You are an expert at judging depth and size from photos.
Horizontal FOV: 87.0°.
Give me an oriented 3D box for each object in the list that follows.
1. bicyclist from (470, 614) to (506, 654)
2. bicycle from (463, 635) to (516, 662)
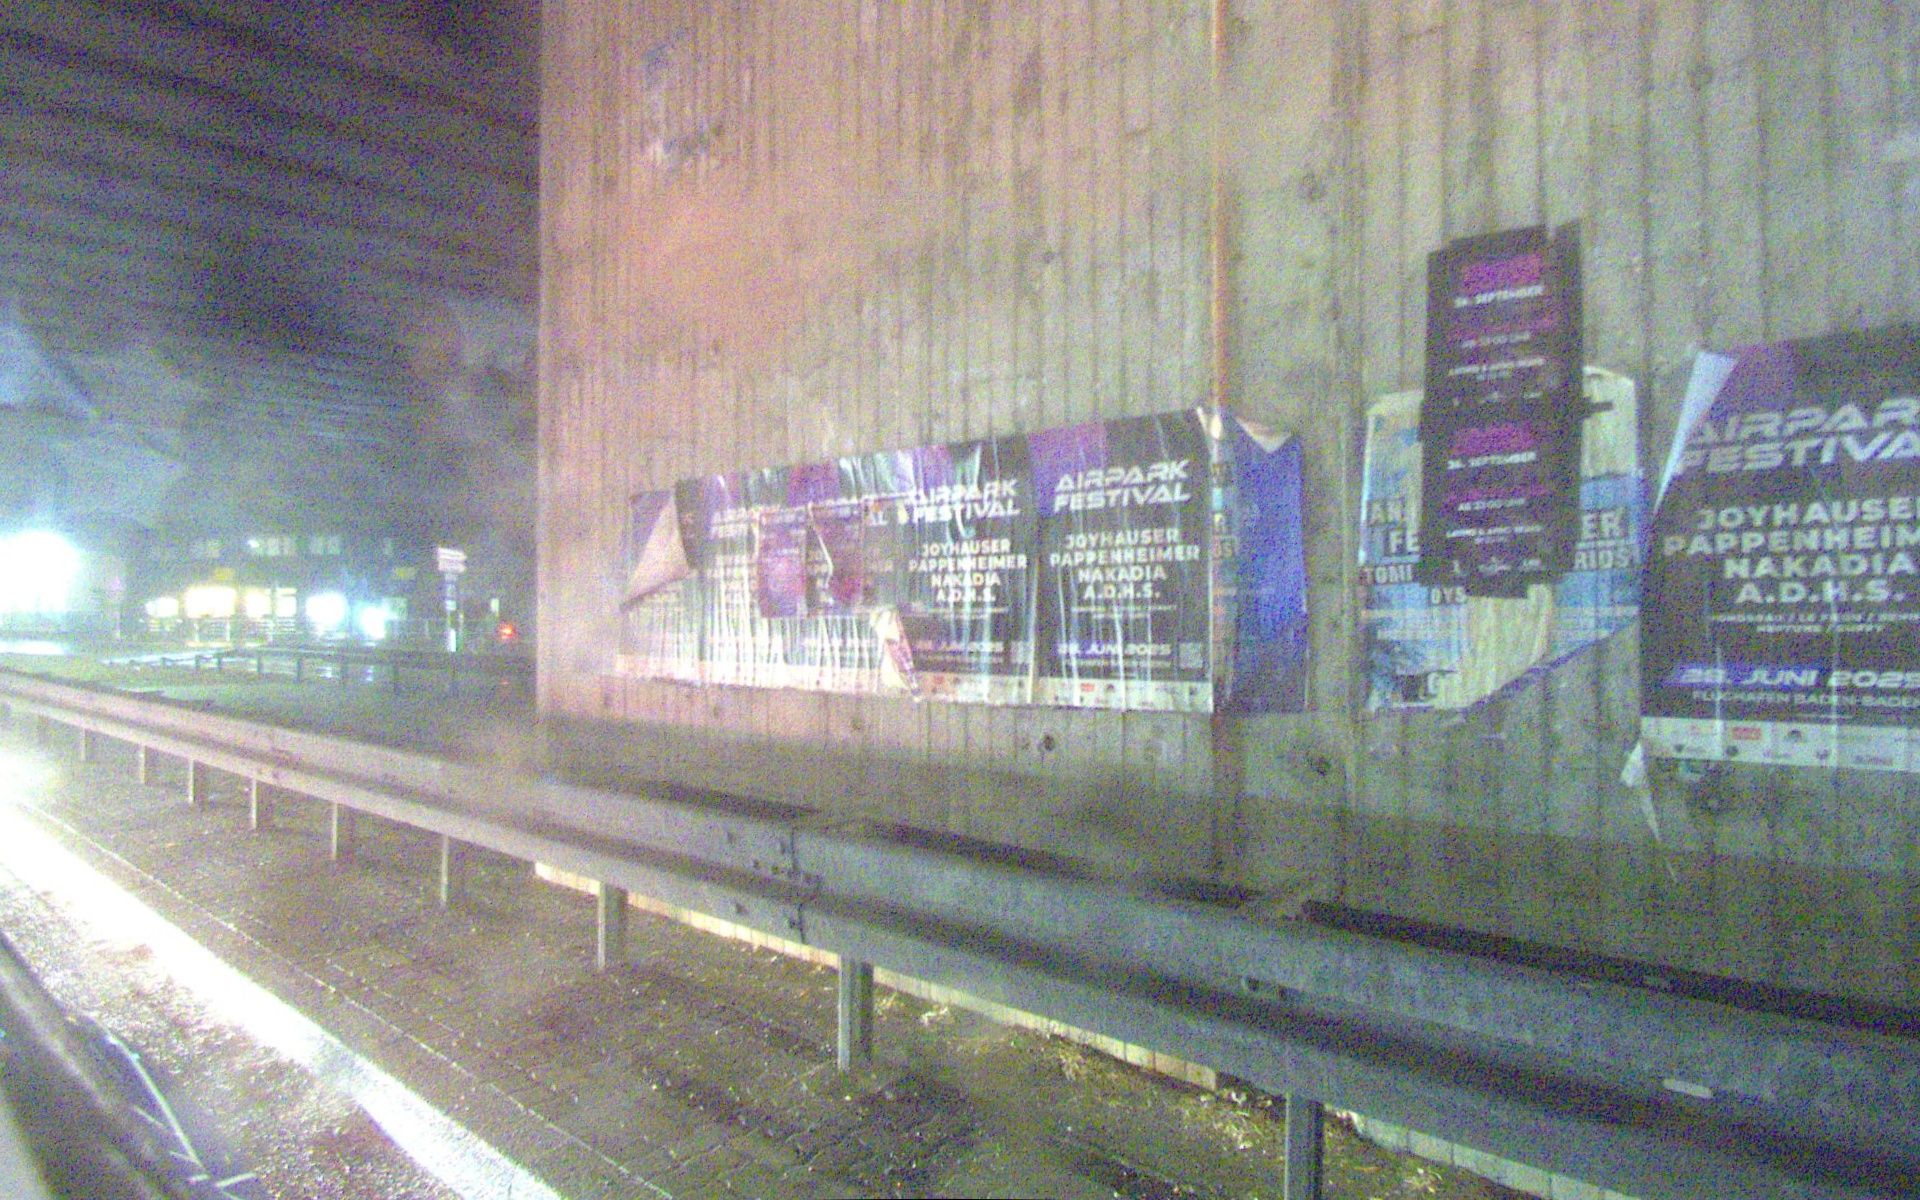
[{"bbox_3d":[-17.188,1.226,36.882,1.184,1.446,0.623,-1,-2,32],"label":"bicyclist"},{"bbox_3d":[-17.127,1.752,36.830,2.206,0.912,0.622,0,-2,32],"label":"bicycle"}]
